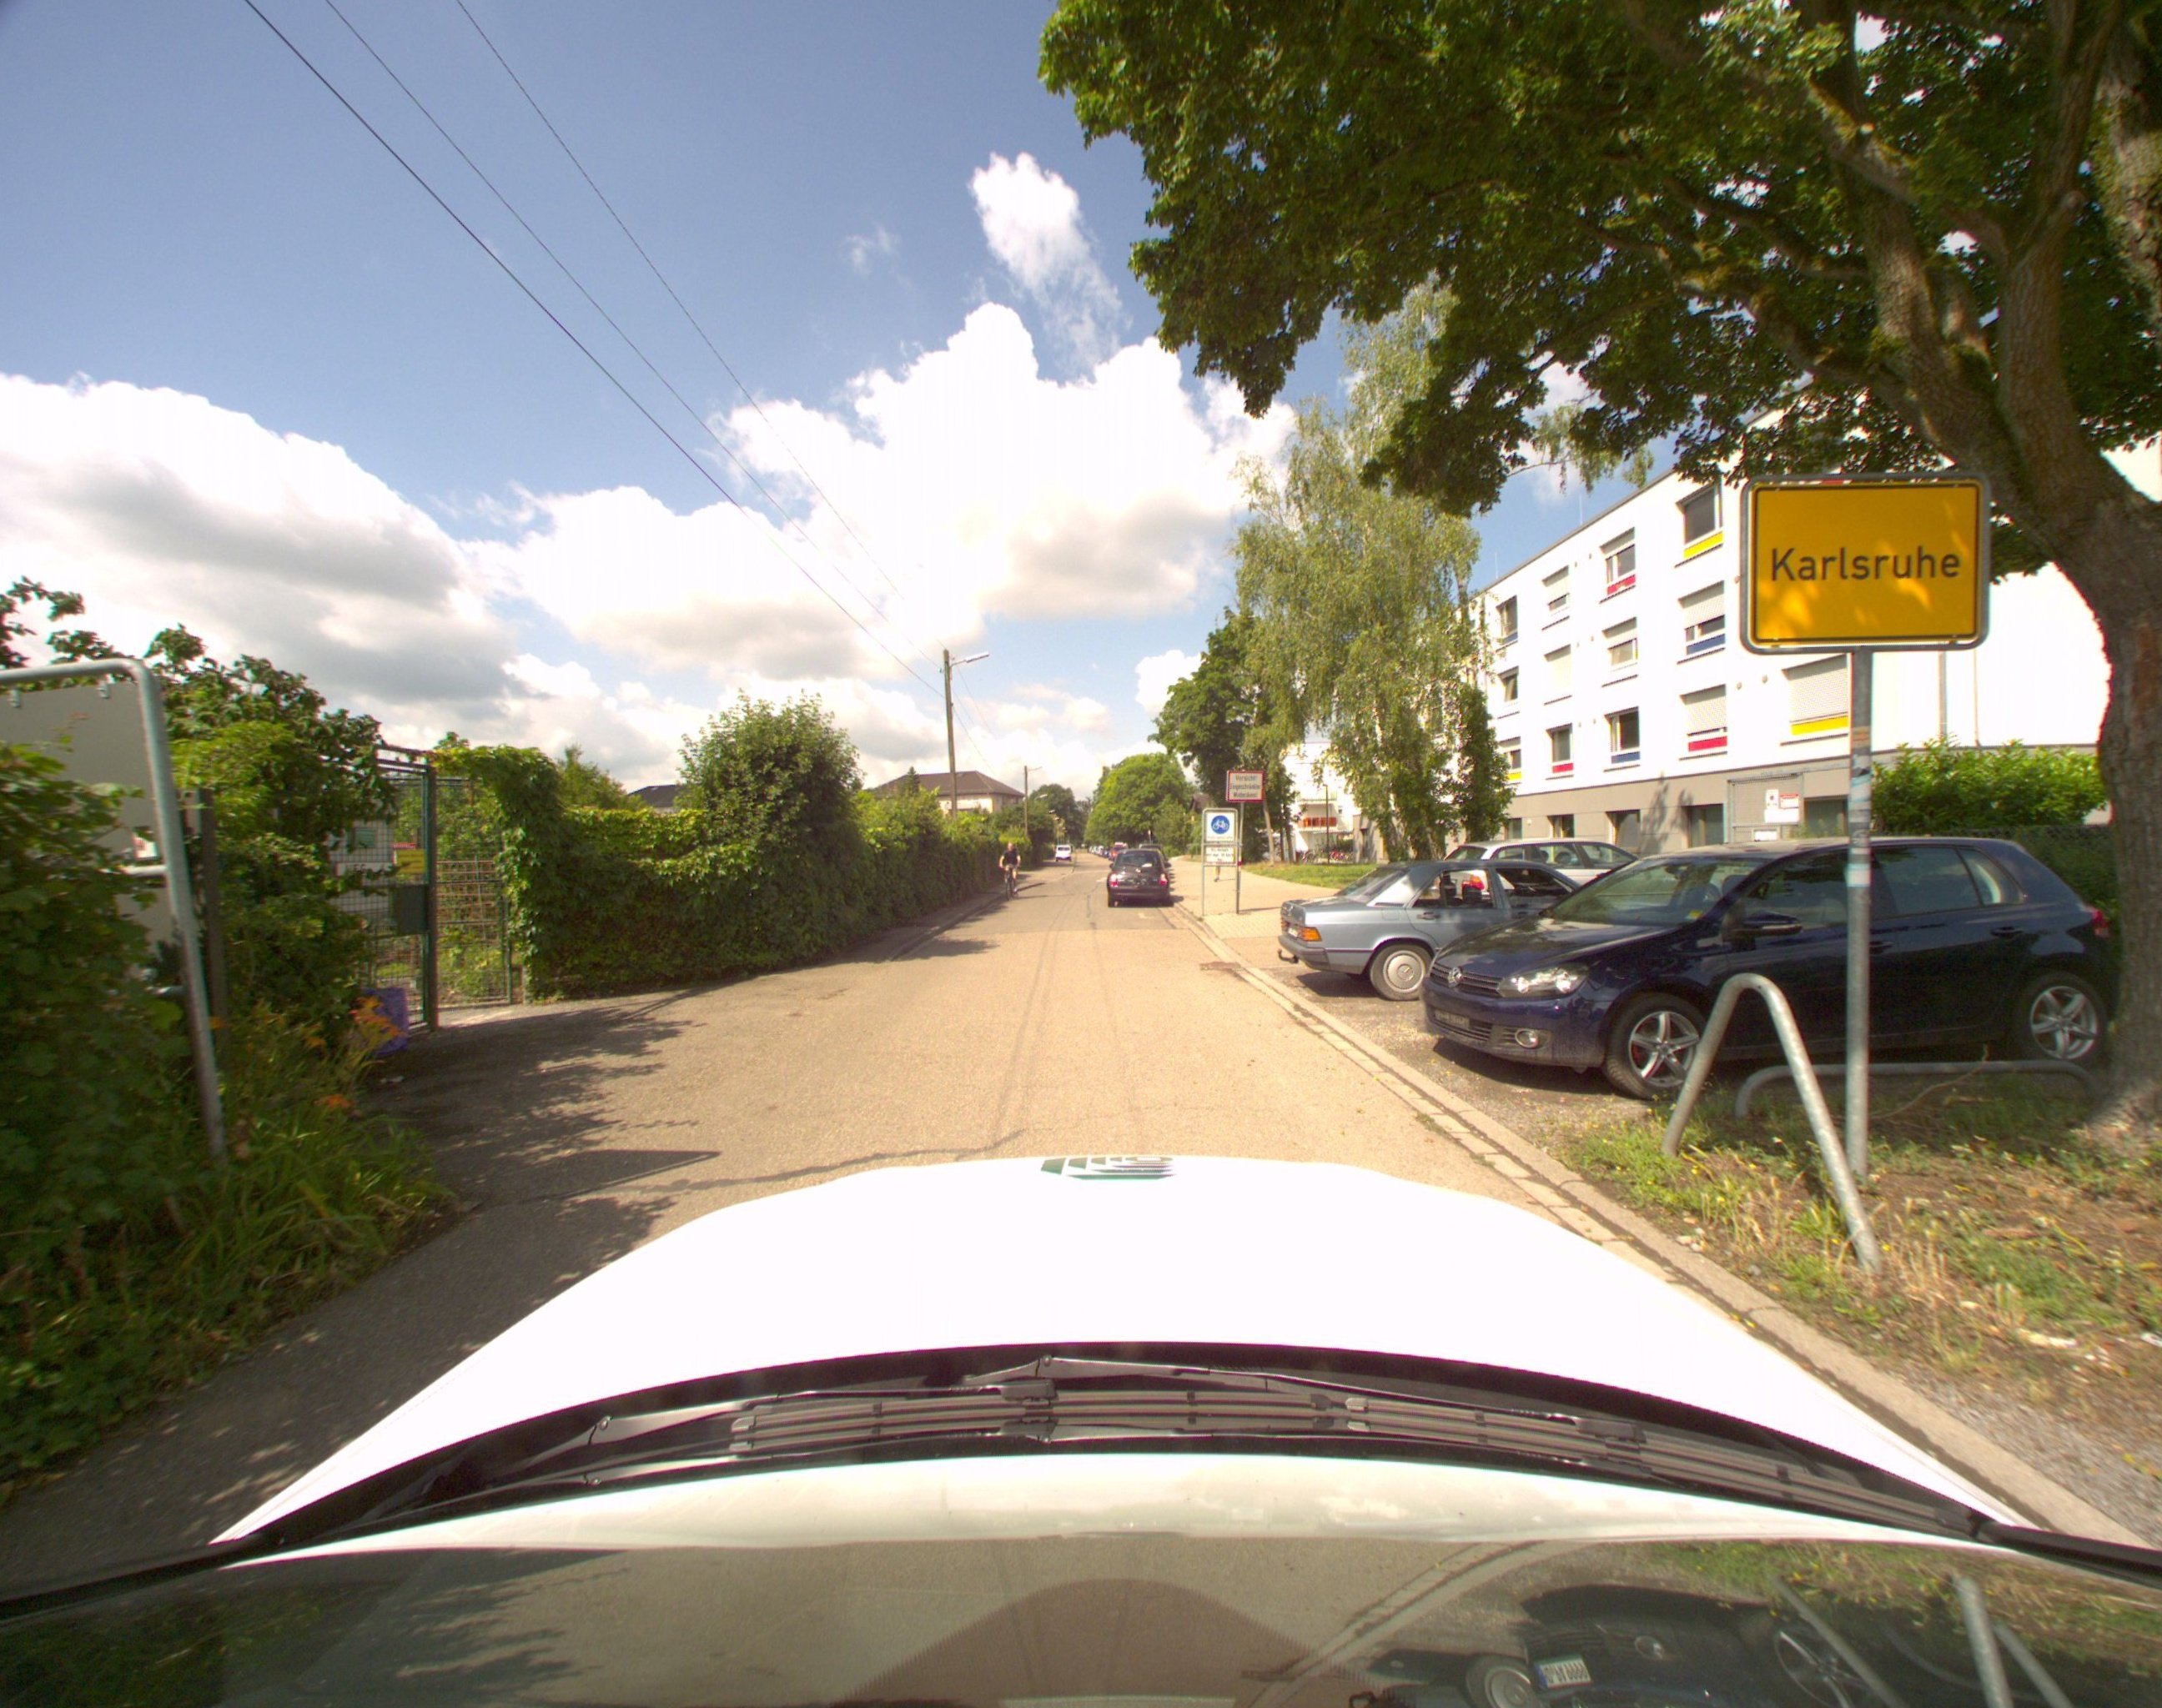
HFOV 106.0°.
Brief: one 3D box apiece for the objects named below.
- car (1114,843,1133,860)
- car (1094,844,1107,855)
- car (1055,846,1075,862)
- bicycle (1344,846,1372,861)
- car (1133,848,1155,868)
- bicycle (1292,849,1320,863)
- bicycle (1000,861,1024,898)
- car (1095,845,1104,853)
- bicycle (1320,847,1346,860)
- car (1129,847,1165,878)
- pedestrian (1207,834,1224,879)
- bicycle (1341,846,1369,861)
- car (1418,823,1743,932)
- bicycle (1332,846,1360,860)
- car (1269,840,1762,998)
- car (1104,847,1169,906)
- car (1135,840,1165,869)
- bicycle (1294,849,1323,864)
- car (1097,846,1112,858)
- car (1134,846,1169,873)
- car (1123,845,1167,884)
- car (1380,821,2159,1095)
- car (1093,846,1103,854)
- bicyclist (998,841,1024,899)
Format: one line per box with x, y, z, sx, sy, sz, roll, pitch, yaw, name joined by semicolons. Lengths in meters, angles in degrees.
4.746;-0.282;90.899;2.050;1.926;4.543;0;0;2;car
3.365;-0.759;140.587;2.050;1.961;4.543;0;0;2;car
-1.758;-0.006;90.816;1.895;1.814;4.002;0;0;2;car
22.239;-0.043;65.390;2.039;1.079;0.688;-3;0;2;bicycle
5.044;0.297;65.774;1.672;1.519;4.002;0;0;2;car
18.379;0.161;66.570;2.039;1.079;0.688;-3;0;2;bicycle
-2.294;0.833;27.112;0.516;1.150;1.828;-3;0;2;bicycle
4.288;-1.112;185.218;1.843;1.618;4.005;0;0;4;car
22.191;-0.055;71.605;2.039;1.079;0.688;-3;0;2;bicycle
3.235;0.378;39.709;1.656;1.439;3.749;0;0;5;car
5.336;0.106;32.242;0.606;1.745;0.724;0;0;13;pedestrian
22.281;-0.056;66.205;2.039;1.079;0.688;-3;0;2;bicycle
8.031;0.351;13.358;4.229;1.430;1.758;-3;0;-2;car
22.331;-0.068;68.636;2.039;1.079;0.688;-3;0;2;bicycle
4.374;0.637;8.752;4.340;1.392;1.720;-2;0;3;car
1.571;0.565;22.640;1.656;1.506;4.005;0;0;5;car
4.418;0.035;52.107;1.865;1.806;3.436;0;0;4;car
18.071;0.173;64.750;2.079;1.119;0.625;-3;0;4;bicycle
3.408;-0.320;115.512;2.050;1.652;4.543;0;0;2;car
3.836;0.293;44.605;1.657;1.435;3.542;0;0;1;car
2.734;0.423;34.124;1.654;1.552;3.644;0;0;7;car
4.365;0.586;5.643;3.923;1.559;1.866;0;0;-2;car
3.655;-0.932;170.224;1.843;1.618;4.005;-1;0;4;car
-2.314;0.516;26.961;0.656;1.852;1.043;-3;0;2;bicyclist
